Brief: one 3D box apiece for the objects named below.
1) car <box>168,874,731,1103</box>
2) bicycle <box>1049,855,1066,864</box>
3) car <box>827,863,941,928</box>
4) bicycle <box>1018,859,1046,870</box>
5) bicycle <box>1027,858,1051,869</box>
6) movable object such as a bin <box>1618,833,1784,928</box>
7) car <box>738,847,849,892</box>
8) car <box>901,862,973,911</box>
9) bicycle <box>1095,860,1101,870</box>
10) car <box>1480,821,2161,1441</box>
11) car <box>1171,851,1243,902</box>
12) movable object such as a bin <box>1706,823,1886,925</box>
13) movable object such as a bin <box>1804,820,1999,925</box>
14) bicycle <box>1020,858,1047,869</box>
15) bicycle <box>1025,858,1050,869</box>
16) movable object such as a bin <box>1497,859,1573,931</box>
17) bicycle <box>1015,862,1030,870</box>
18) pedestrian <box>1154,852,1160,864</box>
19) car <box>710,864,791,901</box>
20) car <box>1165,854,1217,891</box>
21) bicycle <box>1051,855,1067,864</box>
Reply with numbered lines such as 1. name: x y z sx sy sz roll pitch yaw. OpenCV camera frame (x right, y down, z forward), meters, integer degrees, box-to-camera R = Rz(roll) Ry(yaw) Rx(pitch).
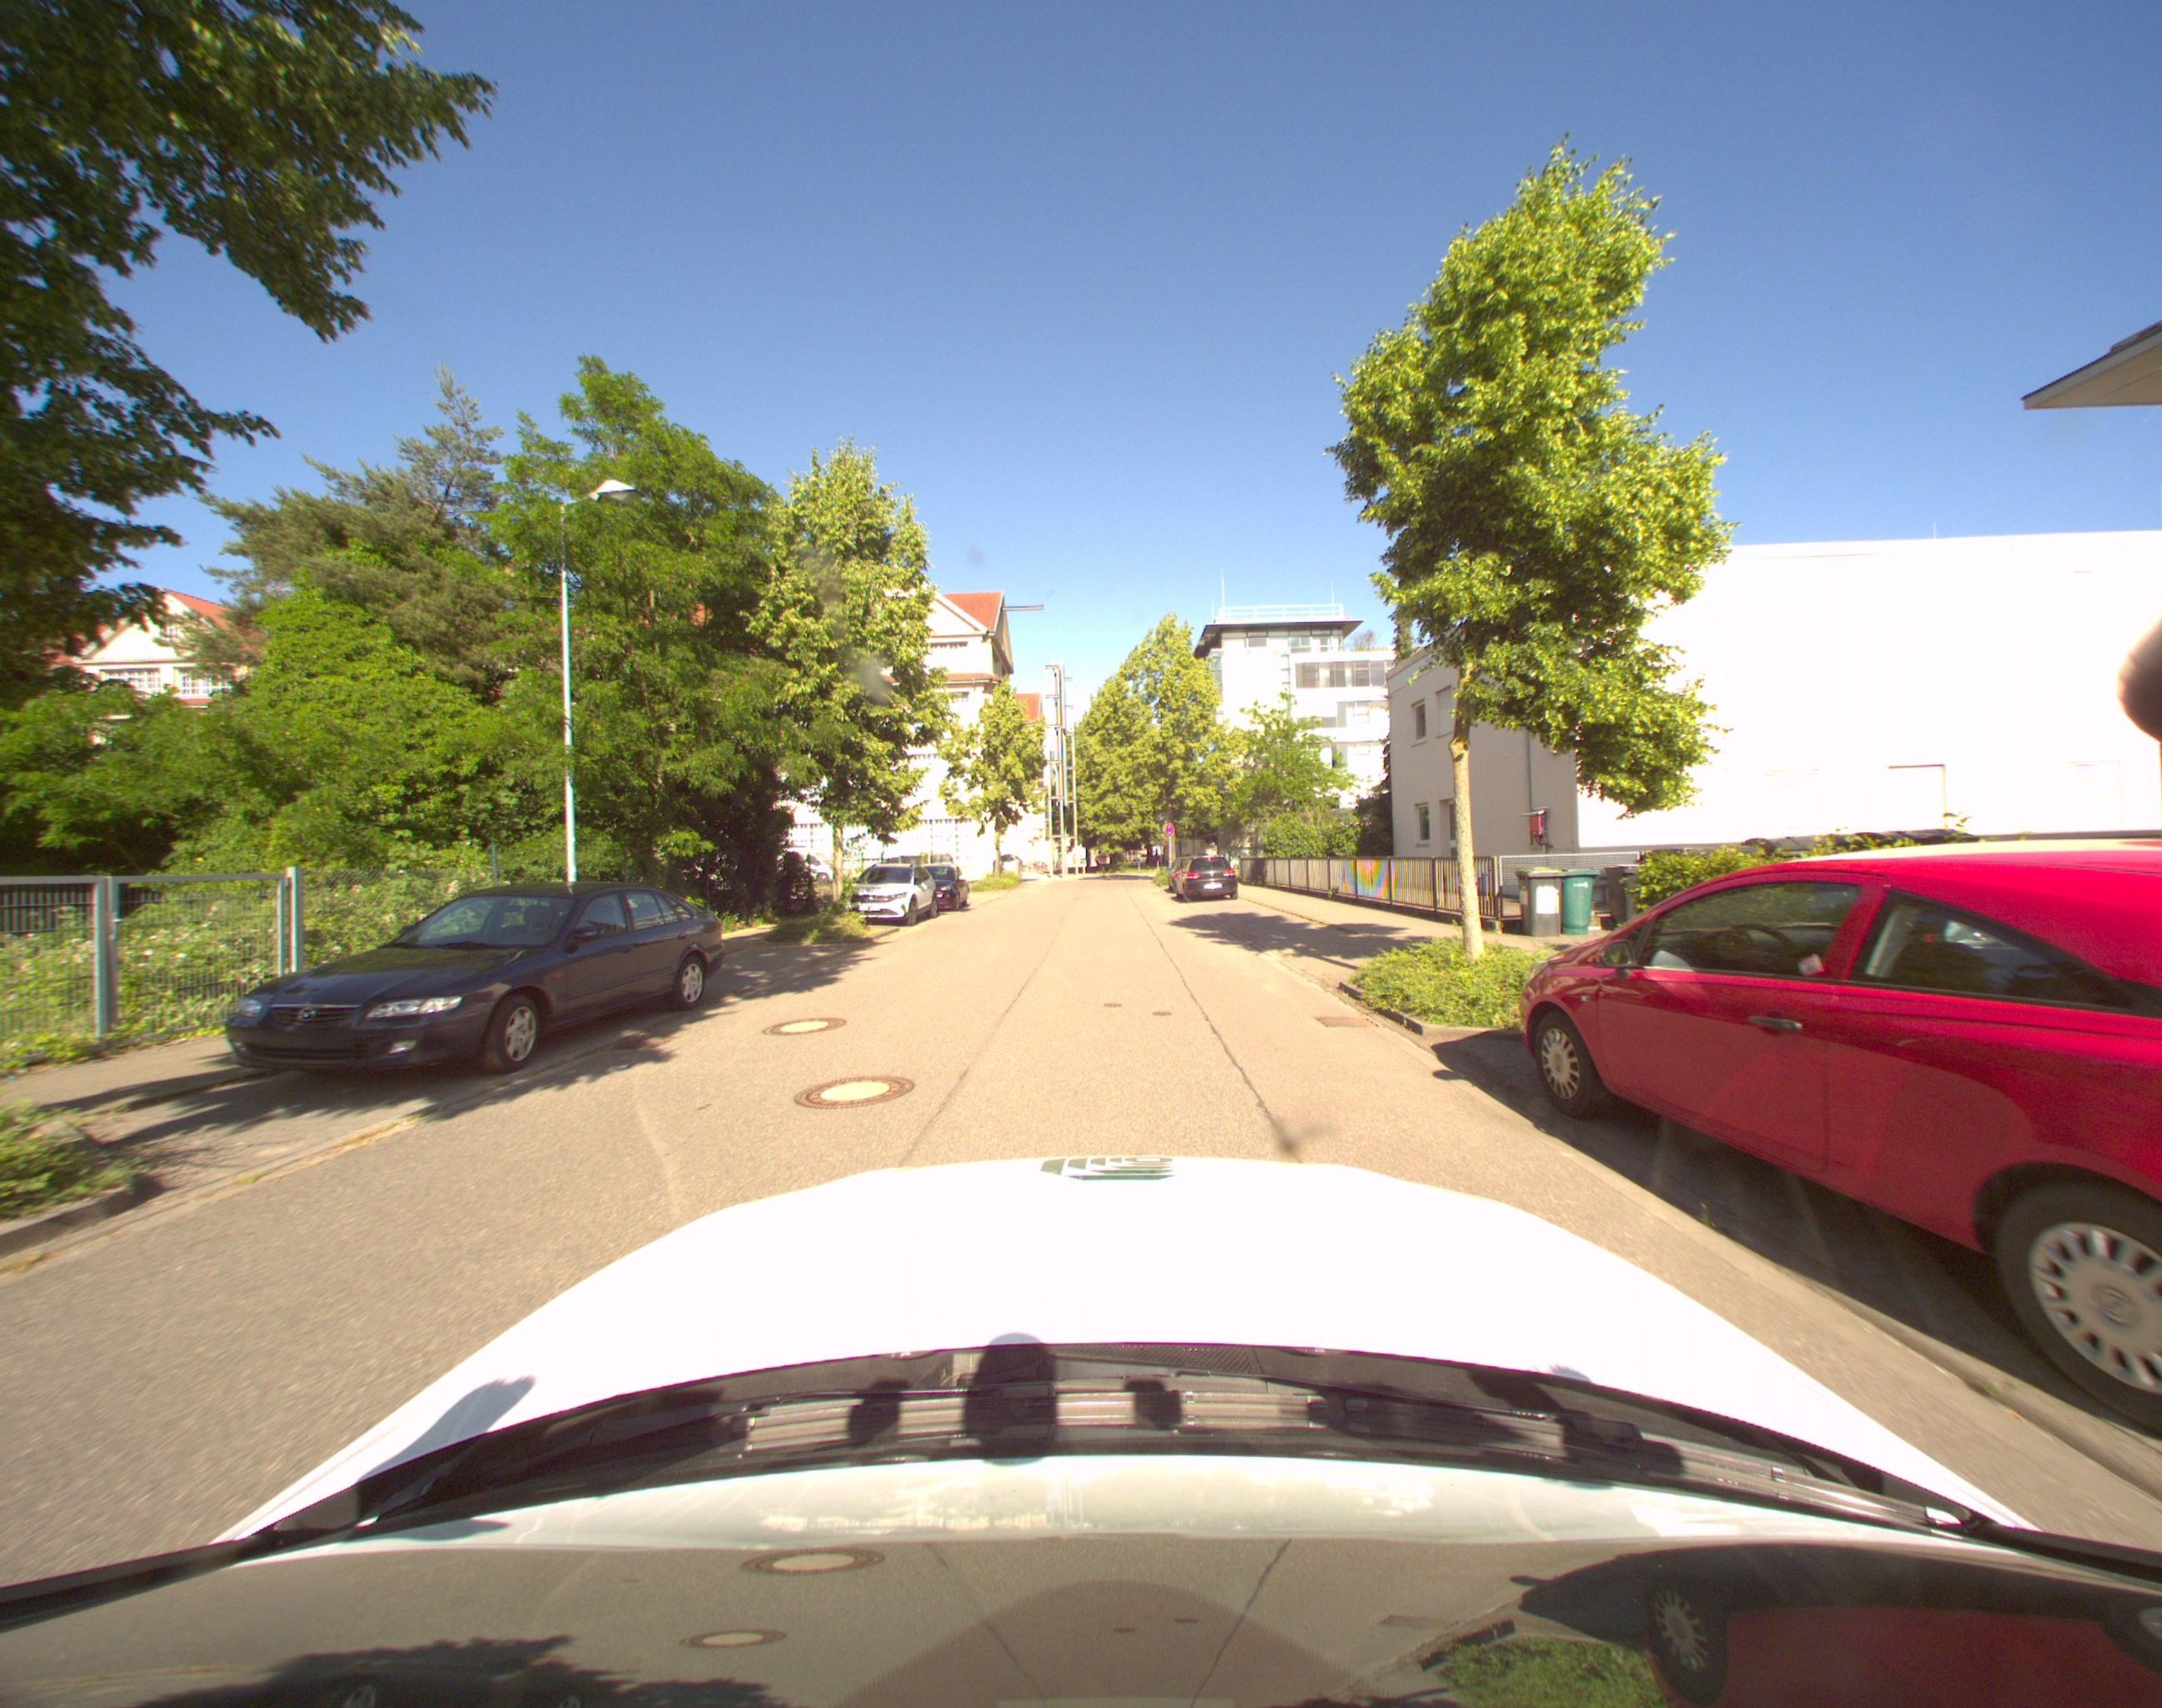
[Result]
1. car: -5.226 0.964 7.710 1.833 1.474 4.361 0 0 1
2. bicycle: -3.056 0.738 104.789 2.049 1.066 0.507 -2 0 3
3. car: -4.923 0.984 20.919 1.833 1.474 4.003 0 0 1
4. bicycle: -5.121 1.081 85.244 2.794 1.063 0.718 -2 0 -3
5. bicycle: -4.832 1.133 93.583 2.725 1.150 0.718 -2 0 -3
6. movable object such as a bin: 9.677 0.391 12.816 1.361 1.357 1.632 -2 0 2
7. car: -18.509 0.971 52.597 6.240 2.597 2.166 -3 0 1
8. car: -4.572 0.995 26.342 1.712 1.474 3.545 0 0 0
9. bicycle: 2.046 1.310 98.989 0.618 1.197 2.129 -2 0 -3
10. car: 3.492 0.665 3.478 1.669 1.504 3.847 -3 0 1
11. car: 4.182 0.690 27.537 1.778 1.516 4.000 -2 0 0
12. movable object such as a bin: 11.094 0.290 12.738 1.361 1.448 1.632 -2 0 2
13. movable object such as a bin: 12.484 0.264 12.490 1.325 1.448 1.632 -2 0 2
14. bicycle: -5.059 1.036 86.886 2.790 1.063 0.719 -2 0 1
15. bicycle: -4.923 1.102 92.214 2.794 1.150 0.718 -2 0 -3
16. movable object such as a bin: 7.143 0.631 12.847 0.630 1.070 0.979 -1 -1 1
17. bicycle: -5.925 1.216 82.348 0.773 0.792 2.892 -2 0 9
18. pedestrian: 9.901 0.494 105.870 0.713 1.550 0.692 -2 0 8
19. car: -16.736 1.398 41.445 1.984 1.609 4.432 -2 0 4
20. car: 4.532 0.743 34.162 1.740 1.422 4.426 -1 -1 2
21. bicycle: -2.826 0.712 105.607 2.049 1.066 0.507 -2 0 3
